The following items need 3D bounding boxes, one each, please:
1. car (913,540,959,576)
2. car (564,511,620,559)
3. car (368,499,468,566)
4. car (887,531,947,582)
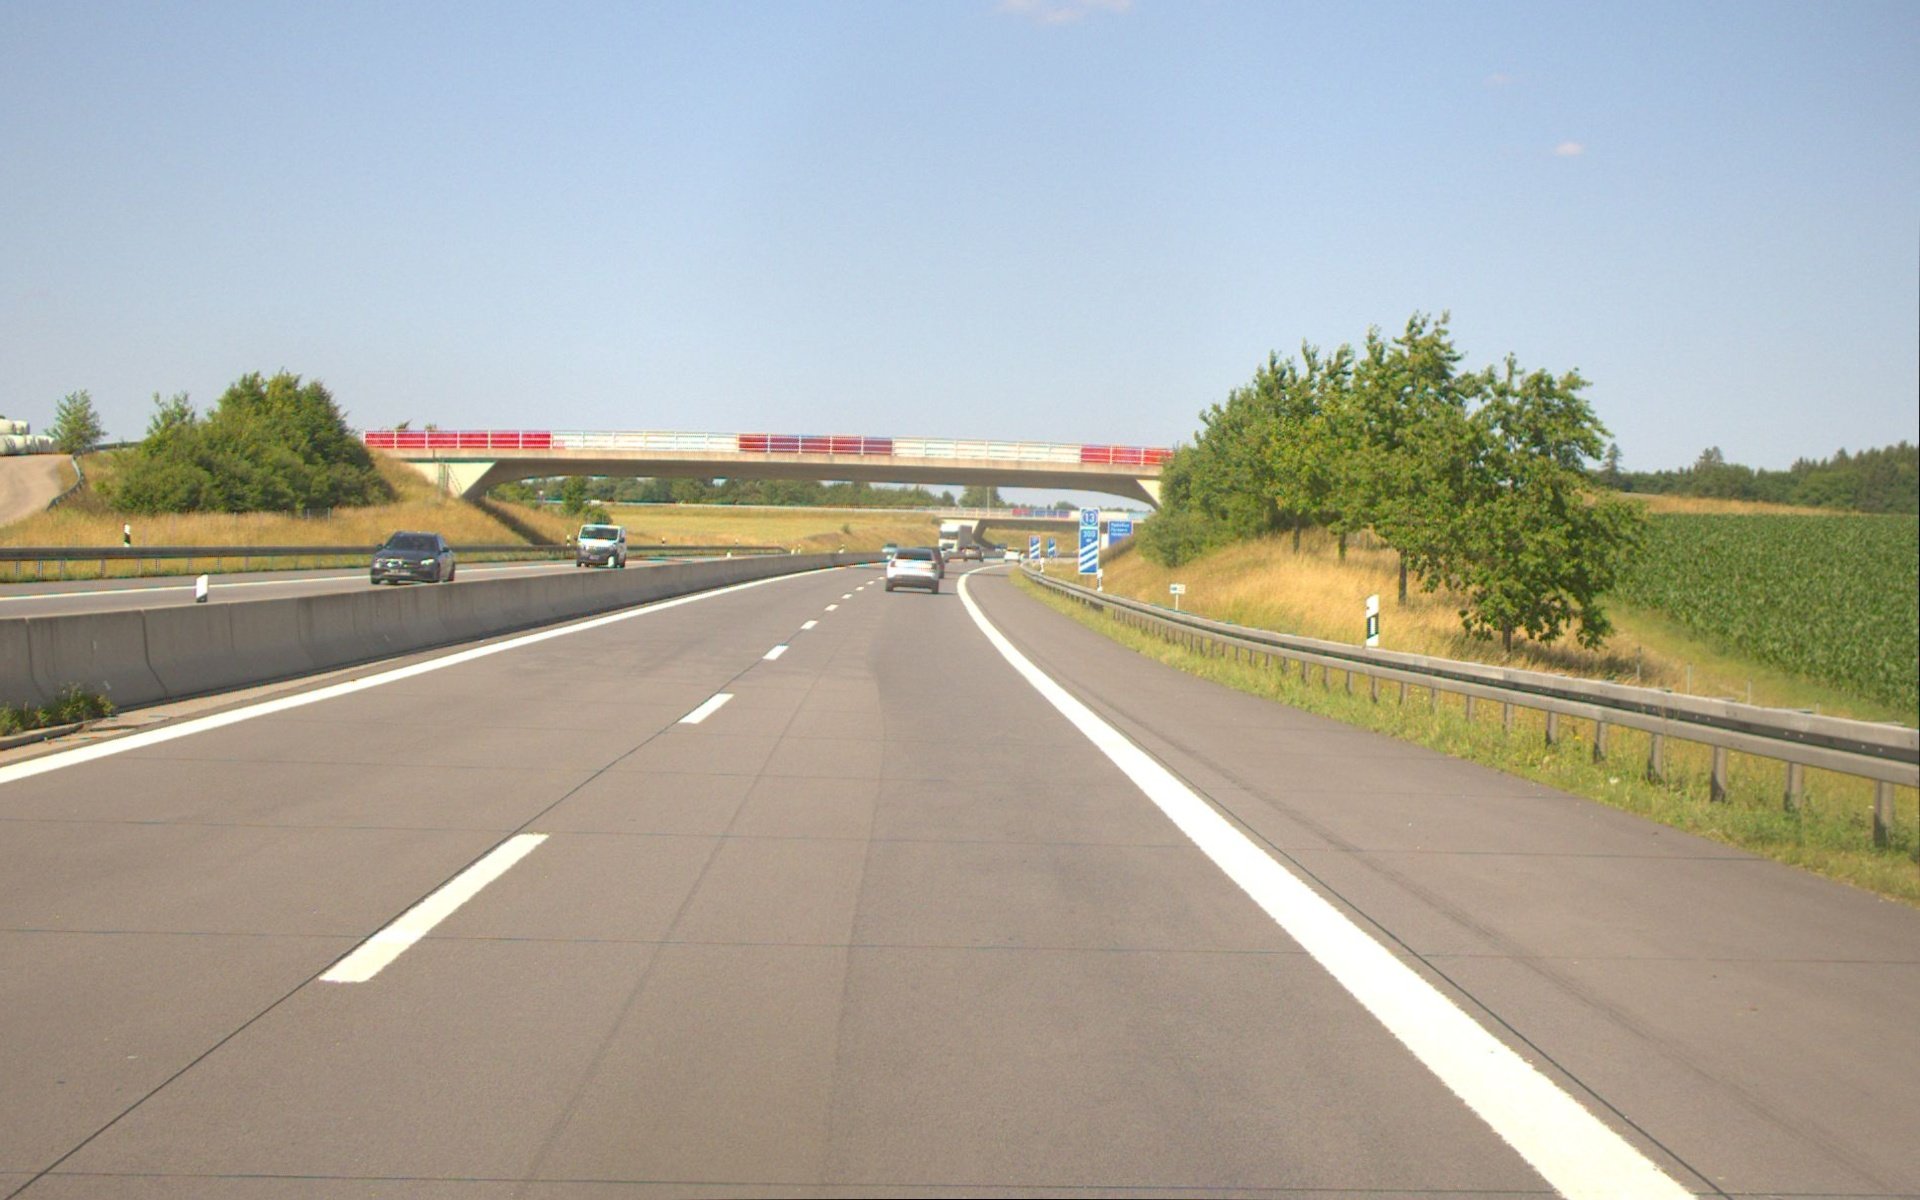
[{"bbox_3d":[-1.184,-2.126,172.107,1.994,1.725,4.869,1,1,2],"label":"car"},{"bbox_3d":[-16.794,-2.954,157.154,1.993,2.007,5.716,4,0,-2],"label":"car"},{"bbox_3d":[-15.075,-1.913,95.842,1.907,1.679,5.007,4,2,-1],"label":"car"},{"bbox_3d":[-1.521,-1.530,120.027,1.993,1.725,4.870,1,1,-1],"label":"car"}]
